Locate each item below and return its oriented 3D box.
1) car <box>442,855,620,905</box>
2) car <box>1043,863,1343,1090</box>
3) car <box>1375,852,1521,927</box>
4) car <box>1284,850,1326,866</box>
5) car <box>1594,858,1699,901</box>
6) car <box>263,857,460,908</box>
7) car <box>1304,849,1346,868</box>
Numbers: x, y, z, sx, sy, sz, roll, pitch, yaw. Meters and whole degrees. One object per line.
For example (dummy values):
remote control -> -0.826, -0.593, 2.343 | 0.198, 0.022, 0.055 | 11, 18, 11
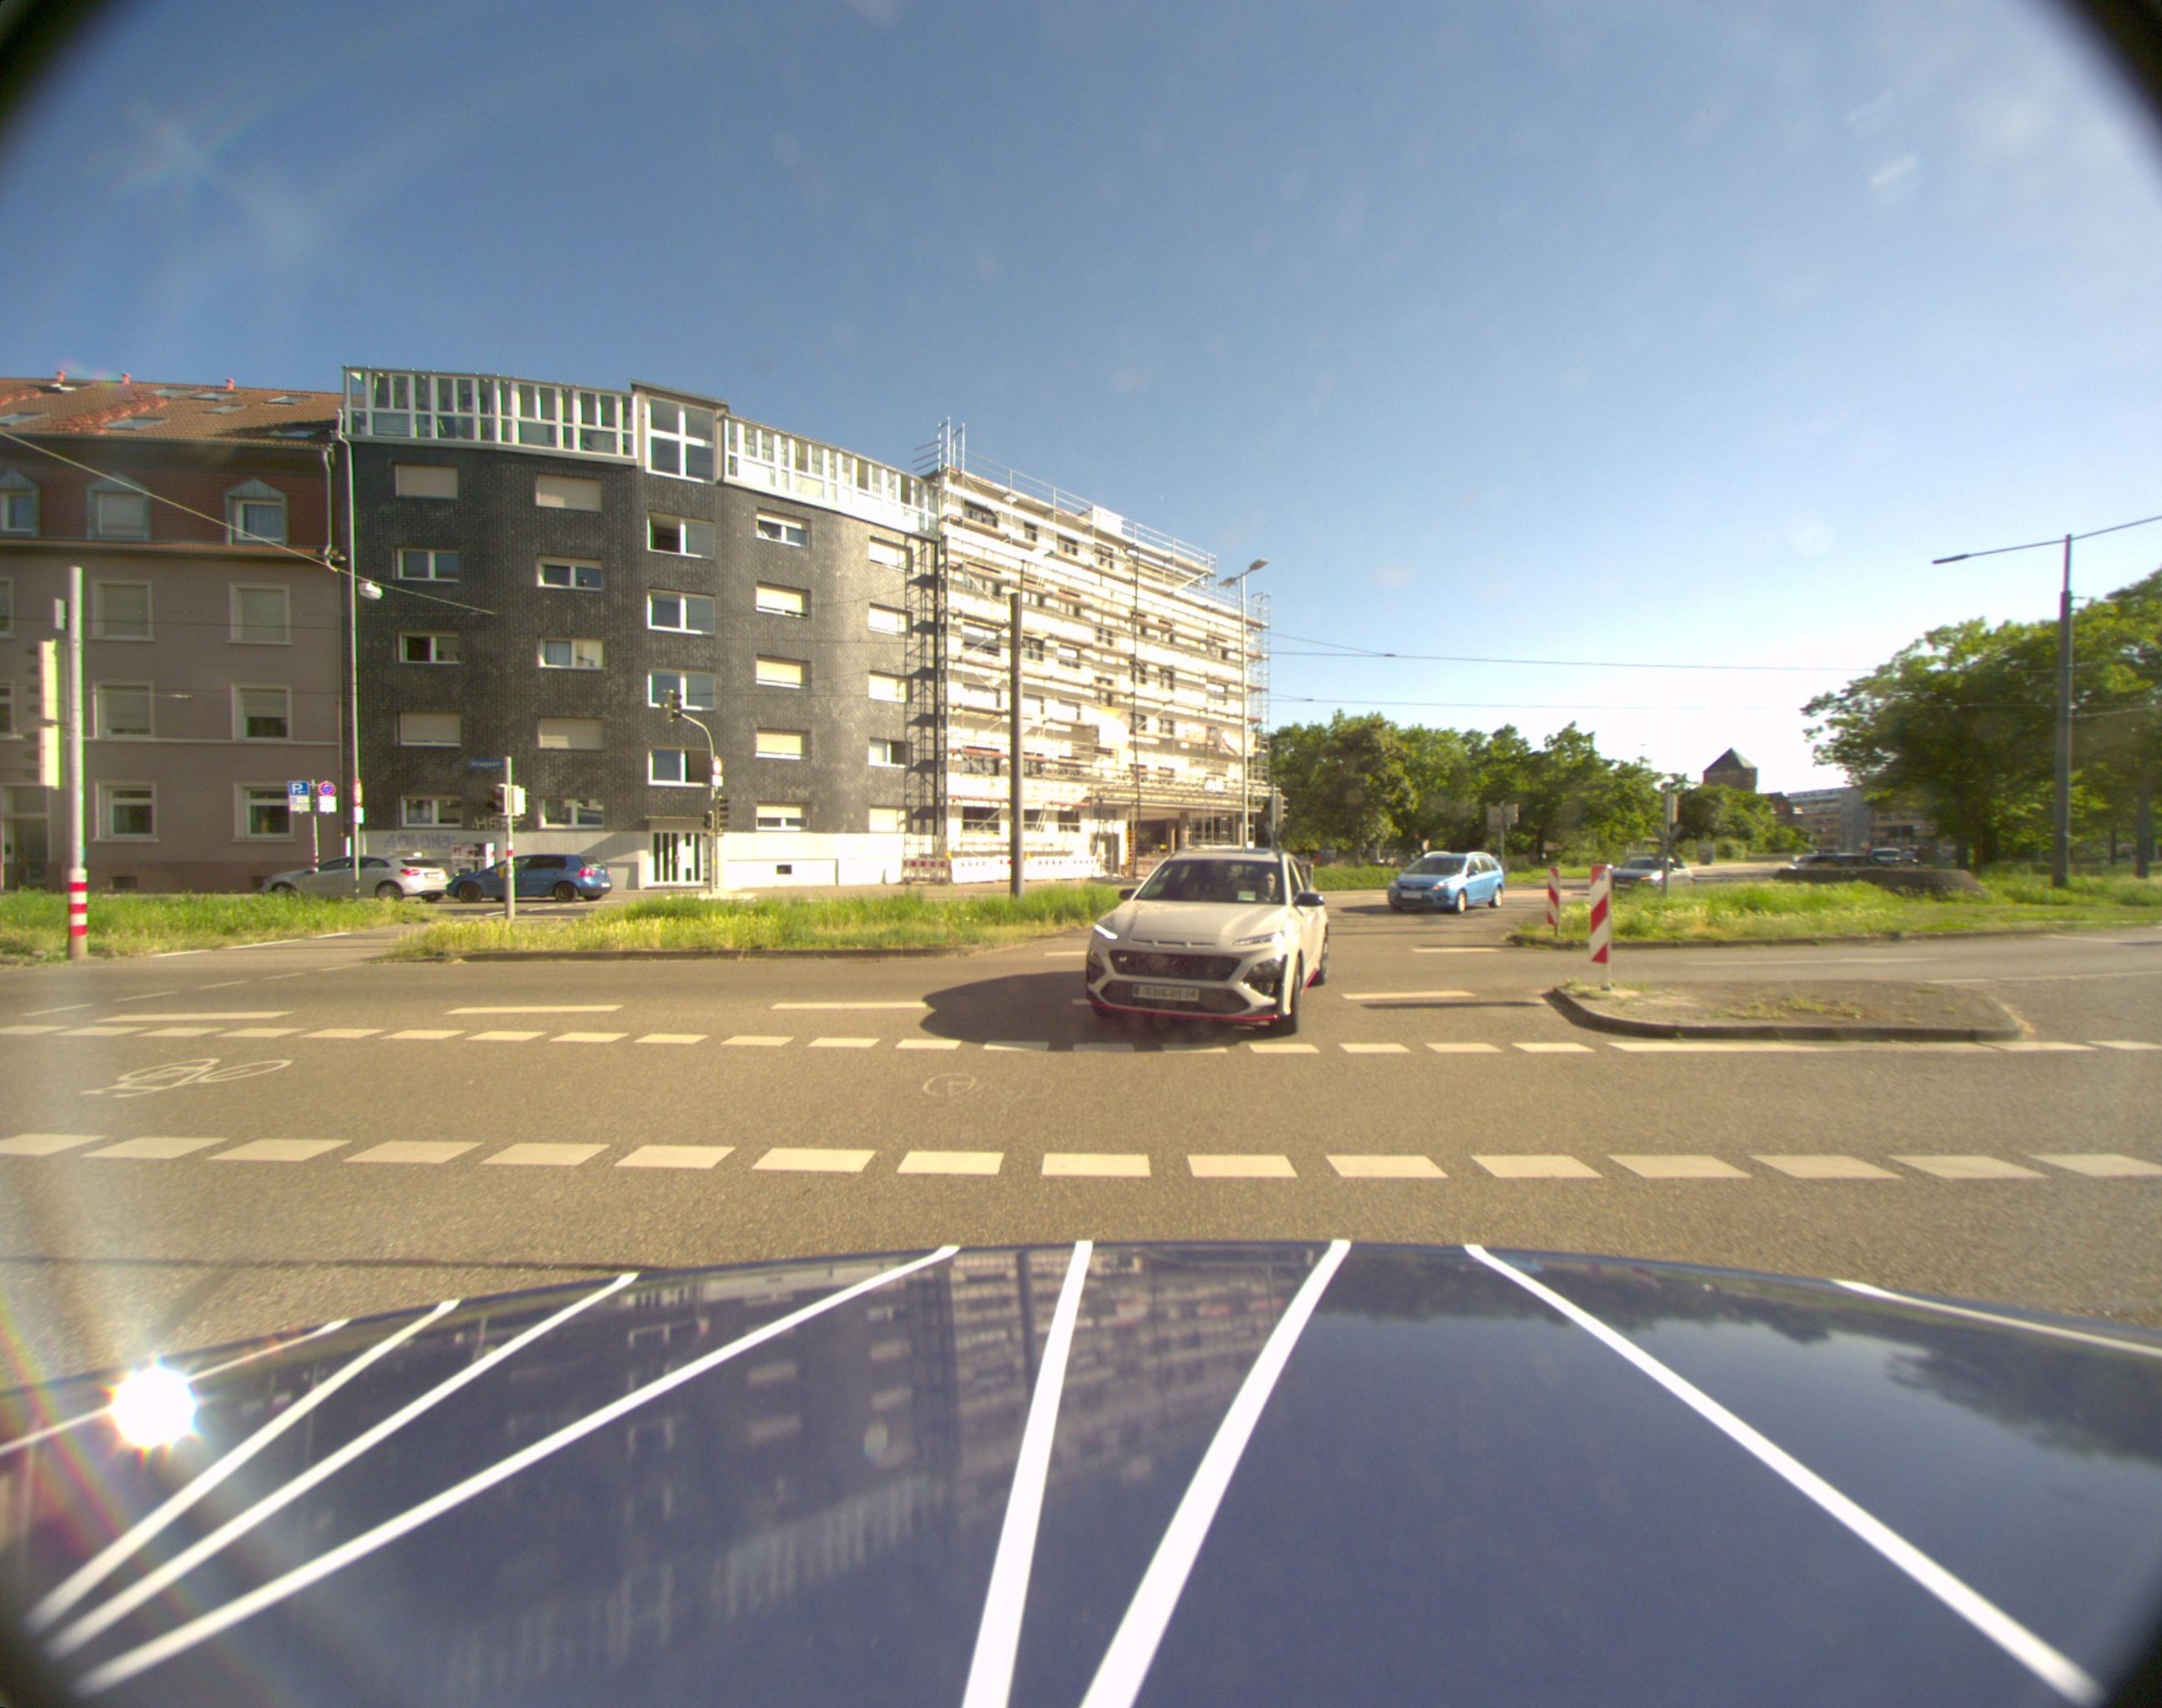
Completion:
car -> -16.345, 0.745, 22.765 | 3.999, 1.407, 1.687 | 0, 1, -6
car -> 1.485, 0.912, 7.894 | 1.901, 1.543, 4.492 | 0, 1, 24
car -> 9.890, 0.849, 20.320 | 4.494, 1.765, 1.868 | 0, 1, -41
car -> 20.192, 0.383, 68.396 | 3.692, 1.386, 1.816 | 0, 1, -40
car -> 21.218, 0.886, 28.468 | 4.493, 1.447, 1.869 | 0, 1, -36
car -> -21.041, 0.809, 22.352 | 3.999, 1.407, 1.687 | 0, 1, -6
car -> 21.328, 0.349, 66.416 | 3.692, 1.575, 1.816 | 0, 1, -40
